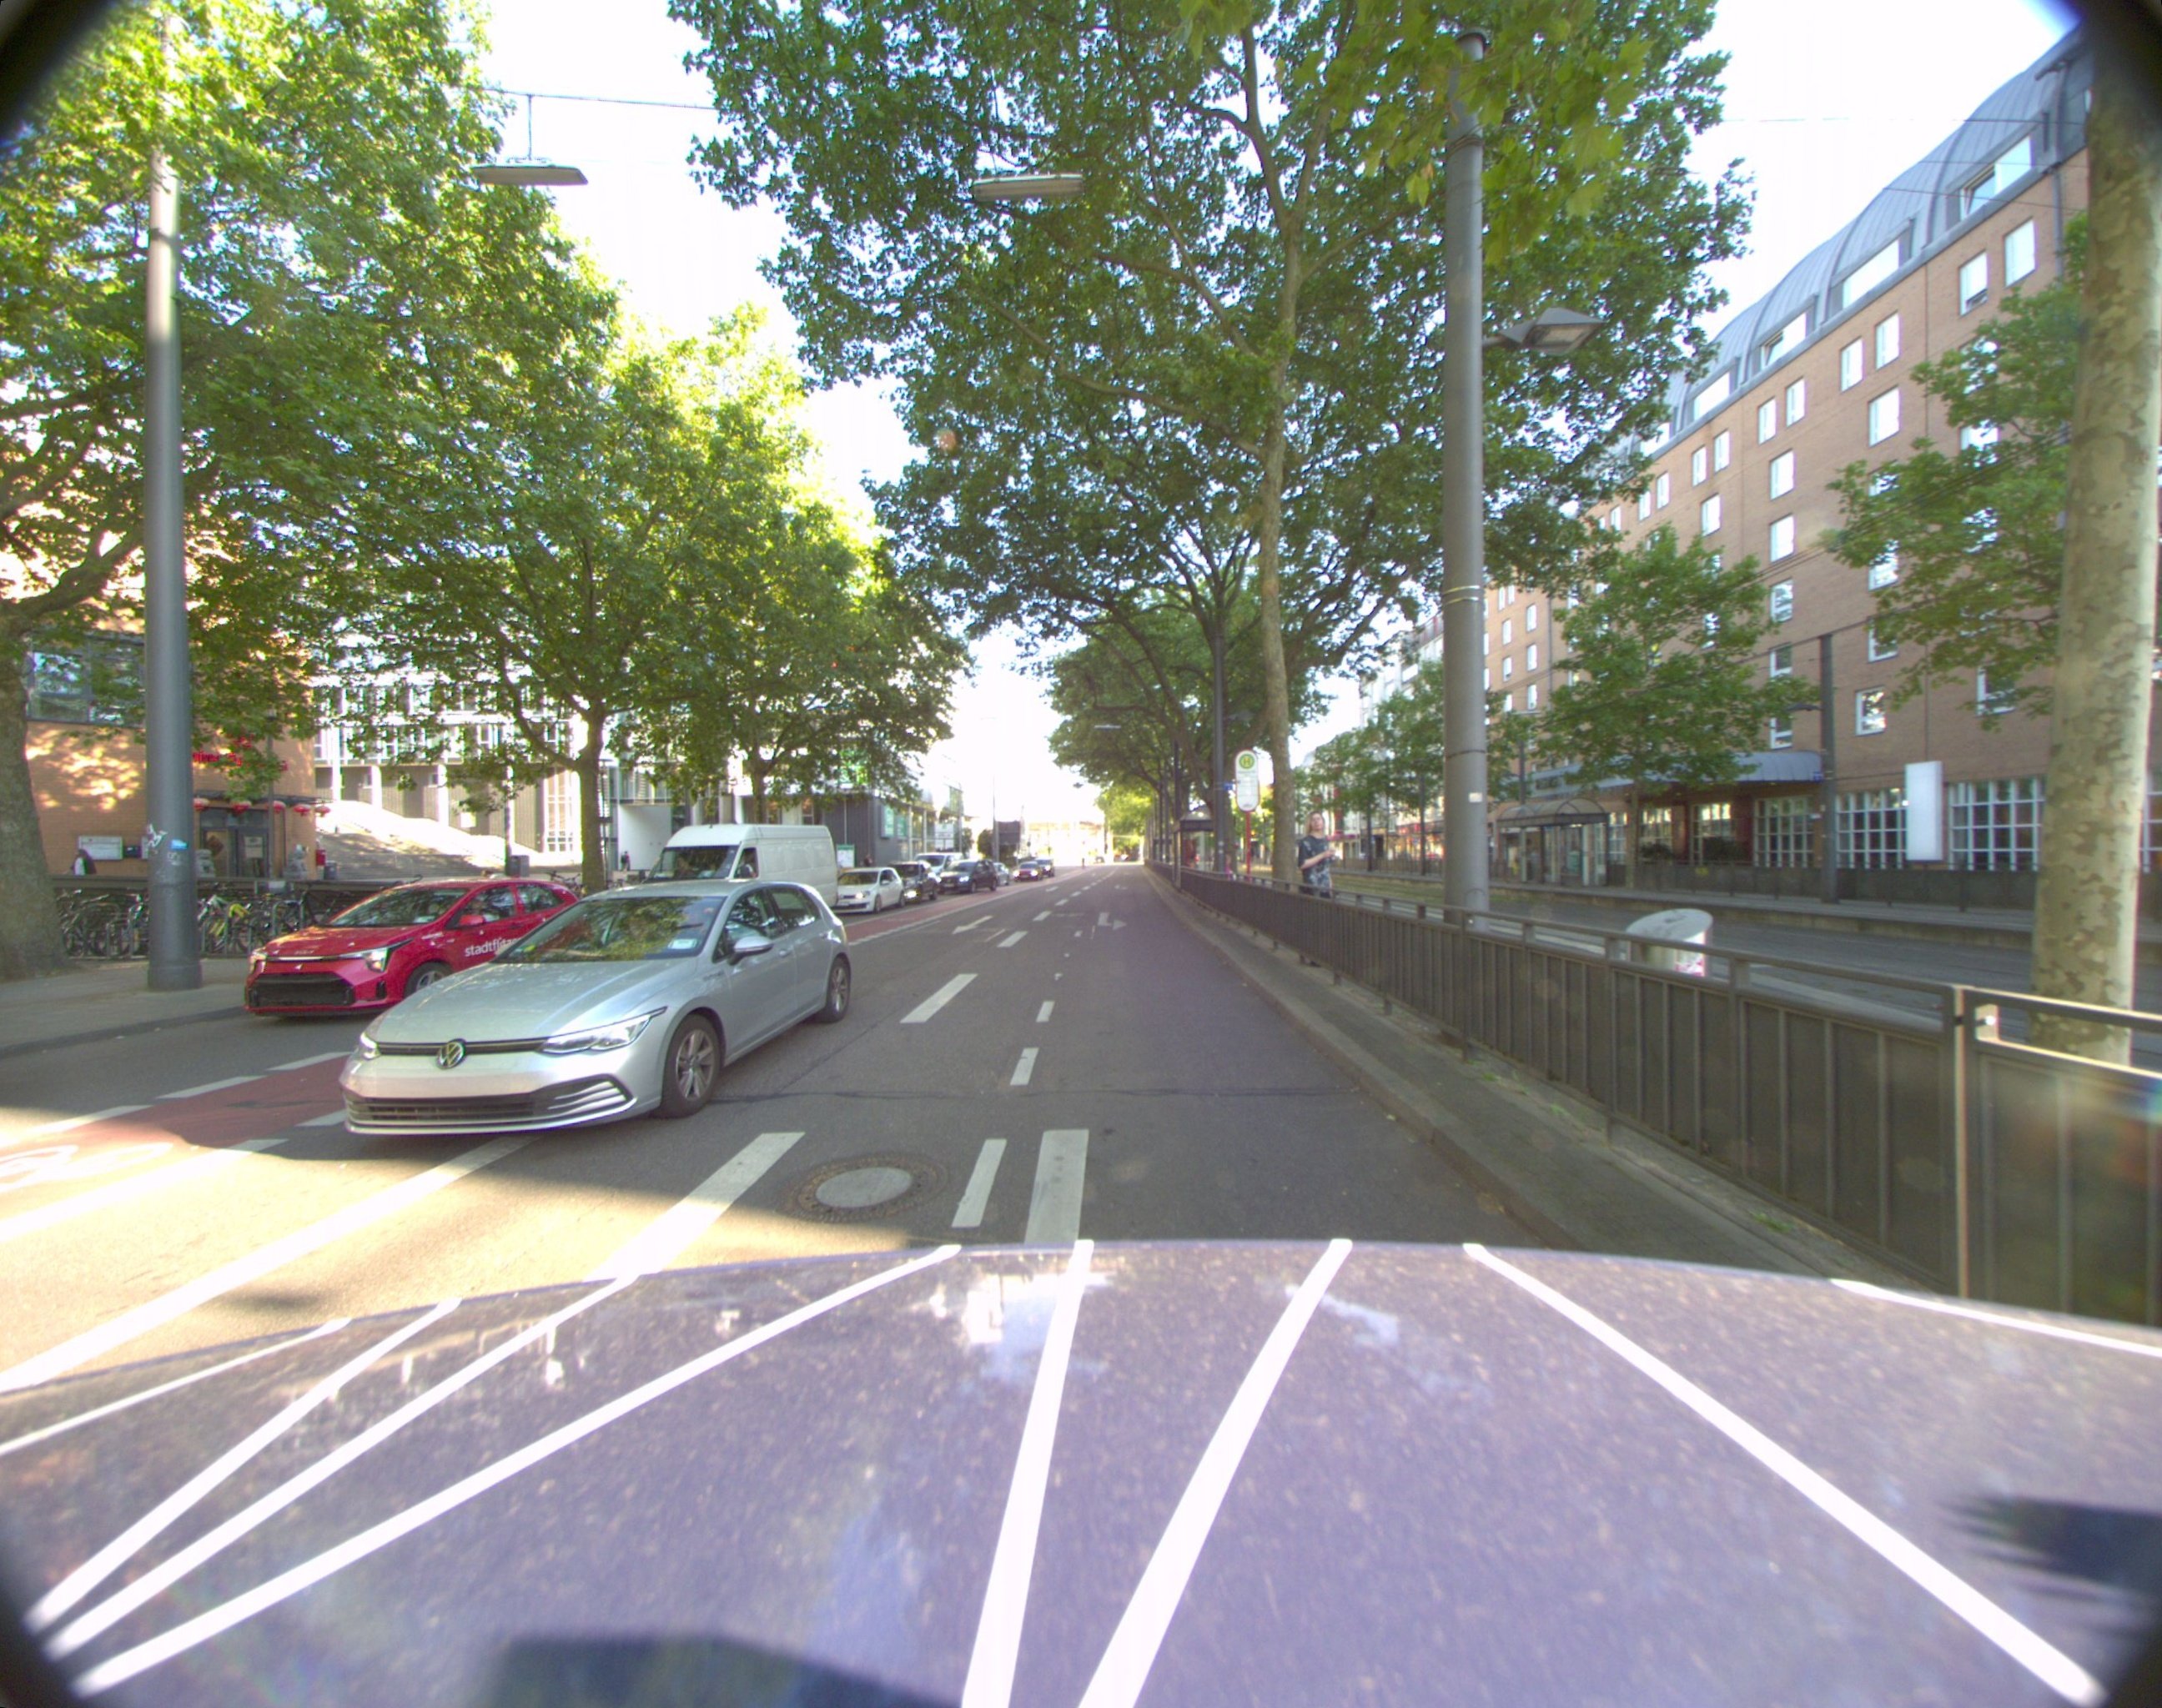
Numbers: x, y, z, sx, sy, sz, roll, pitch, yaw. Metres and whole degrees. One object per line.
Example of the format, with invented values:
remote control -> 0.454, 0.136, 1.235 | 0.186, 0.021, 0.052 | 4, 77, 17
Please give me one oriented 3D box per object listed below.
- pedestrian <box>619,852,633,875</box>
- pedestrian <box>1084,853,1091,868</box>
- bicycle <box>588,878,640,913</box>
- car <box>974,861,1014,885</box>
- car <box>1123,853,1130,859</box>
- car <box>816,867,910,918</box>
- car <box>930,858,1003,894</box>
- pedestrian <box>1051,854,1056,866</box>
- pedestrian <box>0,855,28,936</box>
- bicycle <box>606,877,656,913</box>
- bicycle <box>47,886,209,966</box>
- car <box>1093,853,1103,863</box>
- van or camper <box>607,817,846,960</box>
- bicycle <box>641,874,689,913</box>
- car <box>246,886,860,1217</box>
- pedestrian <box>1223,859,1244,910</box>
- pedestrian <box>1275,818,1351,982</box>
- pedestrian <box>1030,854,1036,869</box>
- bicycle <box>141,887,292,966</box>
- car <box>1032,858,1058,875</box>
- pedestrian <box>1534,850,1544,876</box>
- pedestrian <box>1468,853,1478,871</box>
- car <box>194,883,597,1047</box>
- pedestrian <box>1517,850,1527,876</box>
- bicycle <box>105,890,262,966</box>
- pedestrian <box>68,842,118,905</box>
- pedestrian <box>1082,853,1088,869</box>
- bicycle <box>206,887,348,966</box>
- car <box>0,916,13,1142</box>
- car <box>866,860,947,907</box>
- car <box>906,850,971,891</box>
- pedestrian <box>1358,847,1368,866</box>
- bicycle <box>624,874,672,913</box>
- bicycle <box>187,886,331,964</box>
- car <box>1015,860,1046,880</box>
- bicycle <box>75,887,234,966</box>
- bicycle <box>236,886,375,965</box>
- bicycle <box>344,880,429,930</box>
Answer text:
pedestrian -> -31.260, 0.657, 52.199 | 0.719, 1.549, 0.639 | -1, 1, -35
pedestrian -> 0.876, 0.820, 100.772 | 0.773, 2.002, 0.830 | -2, 1, 1
bicycle -> -15.223, 1.334, 24.800 | 0.516, 1.027, 1.850 | 0, 0, 1
car -> -5.495, 1.167, 48.385 | 1.801, 1.369, 4.001 | 0, 0, 3
car -> 14.249, 0.685, 238.254 | 1.998, 2.002, 4.001 | -1, 0, 4
car -> -7.006, 1.195, 24.859 | 1.682, 1.420, 4.001 | -1, 0, 3
car -> -5.502, 1.015, 37.081 | 1.964, 1.610, 4.335 | -1, 0, 14
pedestrian -> -3.841, 0.890, 107.150 | 0.611, 1.644, 0.583 | -1, 1, 1
pedestrian -> -23.737, 0.904, 16.489 | 0.601, 1.773, 0.889 | 0, 1, 23
bicycle -> -14.662, 1.323, 24.825 | 0.522, 1.088, 1.797 | 0, 0, 1
bicycle -> -16.390, 1.198, 13.144 | 0.435, 1.187, 1.850 | 0, 0, 1
car -> 3.663, 0.855, 166.868 | 1.998, 2.002, 4.001 | -1, 0, 4
van or camper -> -7.512, 0.619, 17.183 | 1.998, 2.563, 6.575 | -2, 0, 3
bicycle -> -13.575, 1.269, 24.847 | 0.522, 1.187, 1.850 | 0, 0, 1
car -> -3.229, 1.078, 5.799 | 1.733, 1.432, 4.000 | -2, 0, 2
pedestrian -> 3.929, 0.778, 19.630 | 0.500, 1.308, 0.419 | 0, 1, 8
pedestrian -> 2.773, 0.523, 9.087 | 0.607, 1.873, 0.622 | -2, 3, -19
pedestrian -> -5.387, 0.860, 84.782 | 0.648, 1.644, 0.643 | -1, 1, 1
bicycle -> -14.846, 1.199, 13.131 | 0.447, 1.187, 1.850 | 0, 0, 1
car -> -3.105, 1.050, 65.768 | 1.801, 1.438, 4.001 | 0, 0, 3
pedestrian -> 27.303, 0.532, 45.325 | 0.438, 1.511, 0.659 | 0, 1, 23
pedestrian -> 31.274, 0.650, 60.622 | 0.519, 1.427, 0.516 | 0, 1, 4
car -> -7.961, 1.169, 9.358 | 1.606, 1.449, 3.651 | -1, 0, 0
pedestrian -> 26.458, 0.531, 45.615 | 0.438, 1.497, 0.659 | 0, 1, 23
bicycle -> -15.428, 1.236, 13.140 | 0.485, 1.118, 1.850 | 0, 0, 1
pedestrian -> -32.520, 0.638, 25.012 | 0.875, 2.025, 0.586 | 0, 1, 6
pedestrian -> 0.566, 0.946, 102.524 | 0.773, 2.002, 0.830 | -2, 1, 1
bicycle -> -13.824, 1.204, 13.140 | 0.448, 1.187, 1.850 | 0, 0, 1
car -> -7.990, 1.164, 2.914 | 1.743, 1.476, 4.251 | -1, 0, 0
car -> -6.707, 1.085, 29.643 | 1.818, 1.610, 4.229 | -1, 0, 5
car -> -7.487, 0.823, 40.458 | 1.965, 1.983, 4.960 | -1, 0, 7
pedestrian -> 31.029, 0.292, 83.526 | 0.806, 2.002, 0.763 | -1, 1, 1
bicycle -> -14.118, 1.261, 24.826 | 0.495, 1.187, 1.850 | 0, 0, 1
bicycle -> -14.329, 1.200, 13.331 | 0.484, 1.187, 1.850 | 0, 0, 1
car -> -3.740, 1.161, 56.936 | 1.801, 1.369, 4.001 | 0, 0, 3
bicycle -> -15.927, 1.203, 13.142 | 0.458, 1.187, 1.850 | 0, 0, 1
bicycle -> -13.321, 1.194, 13.135 | 0.482, 1.187, 1.850 | 0, 0, 1
bicycle -> -17.872, 1.286, 19.598 | 0.517, 1.187, 1.790 | 0, 0, 1
